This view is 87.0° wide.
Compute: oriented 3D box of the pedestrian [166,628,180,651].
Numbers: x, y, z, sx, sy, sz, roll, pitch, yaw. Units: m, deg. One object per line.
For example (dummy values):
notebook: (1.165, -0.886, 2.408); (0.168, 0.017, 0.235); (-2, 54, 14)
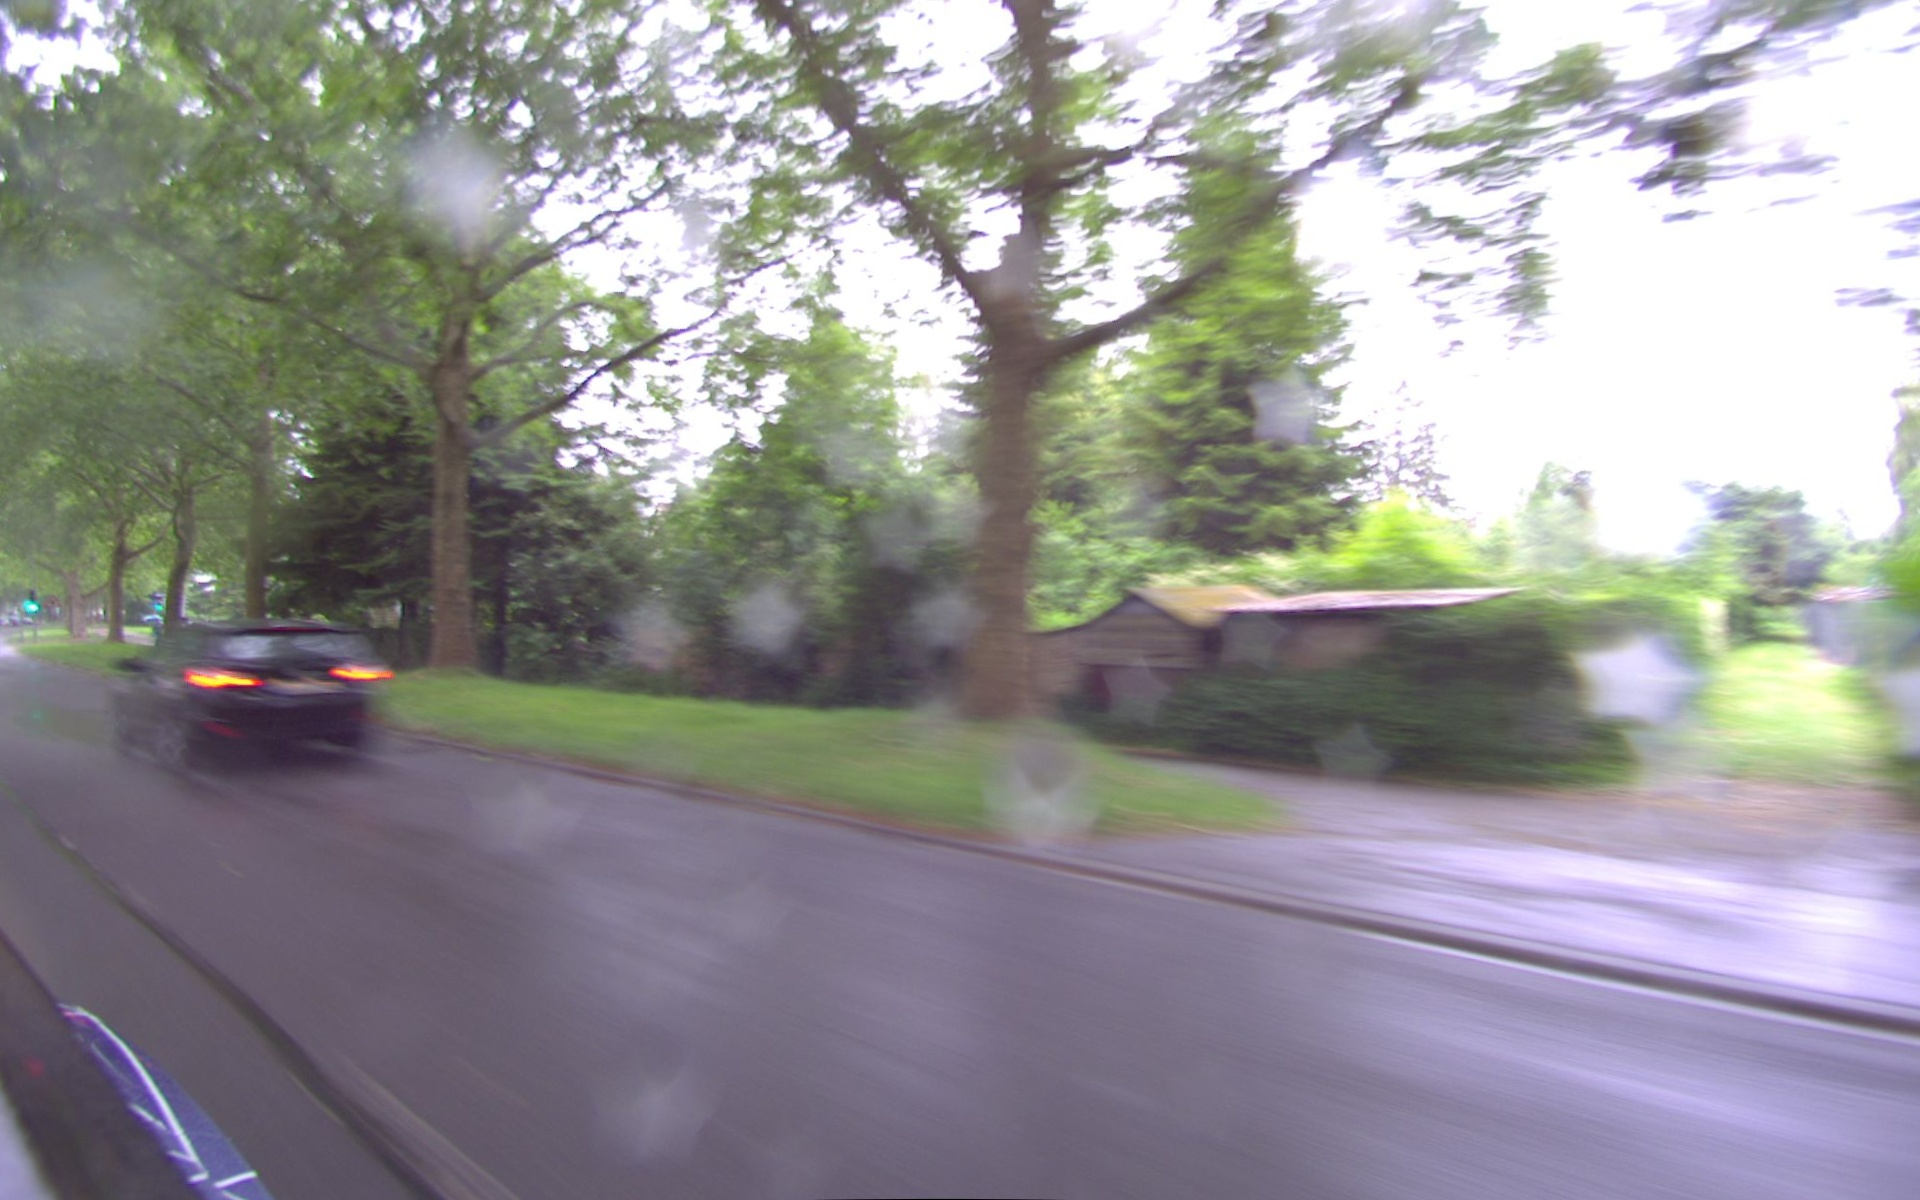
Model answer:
pedestrian: (-44.425, 2.246, 57.110); (0.849, 1.271, 0.510); (-2, -1, 45)

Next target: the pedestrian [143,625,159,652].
pedestrian: (-45.079, 2.159, 56.396); (0.857, 1.464, 0.591); (-2, -1, 45)

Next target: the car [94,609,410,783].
car: (-7.782, 0.899, 10.995); (3.996, 1.513, 1.827); (-1, -1, 40)
